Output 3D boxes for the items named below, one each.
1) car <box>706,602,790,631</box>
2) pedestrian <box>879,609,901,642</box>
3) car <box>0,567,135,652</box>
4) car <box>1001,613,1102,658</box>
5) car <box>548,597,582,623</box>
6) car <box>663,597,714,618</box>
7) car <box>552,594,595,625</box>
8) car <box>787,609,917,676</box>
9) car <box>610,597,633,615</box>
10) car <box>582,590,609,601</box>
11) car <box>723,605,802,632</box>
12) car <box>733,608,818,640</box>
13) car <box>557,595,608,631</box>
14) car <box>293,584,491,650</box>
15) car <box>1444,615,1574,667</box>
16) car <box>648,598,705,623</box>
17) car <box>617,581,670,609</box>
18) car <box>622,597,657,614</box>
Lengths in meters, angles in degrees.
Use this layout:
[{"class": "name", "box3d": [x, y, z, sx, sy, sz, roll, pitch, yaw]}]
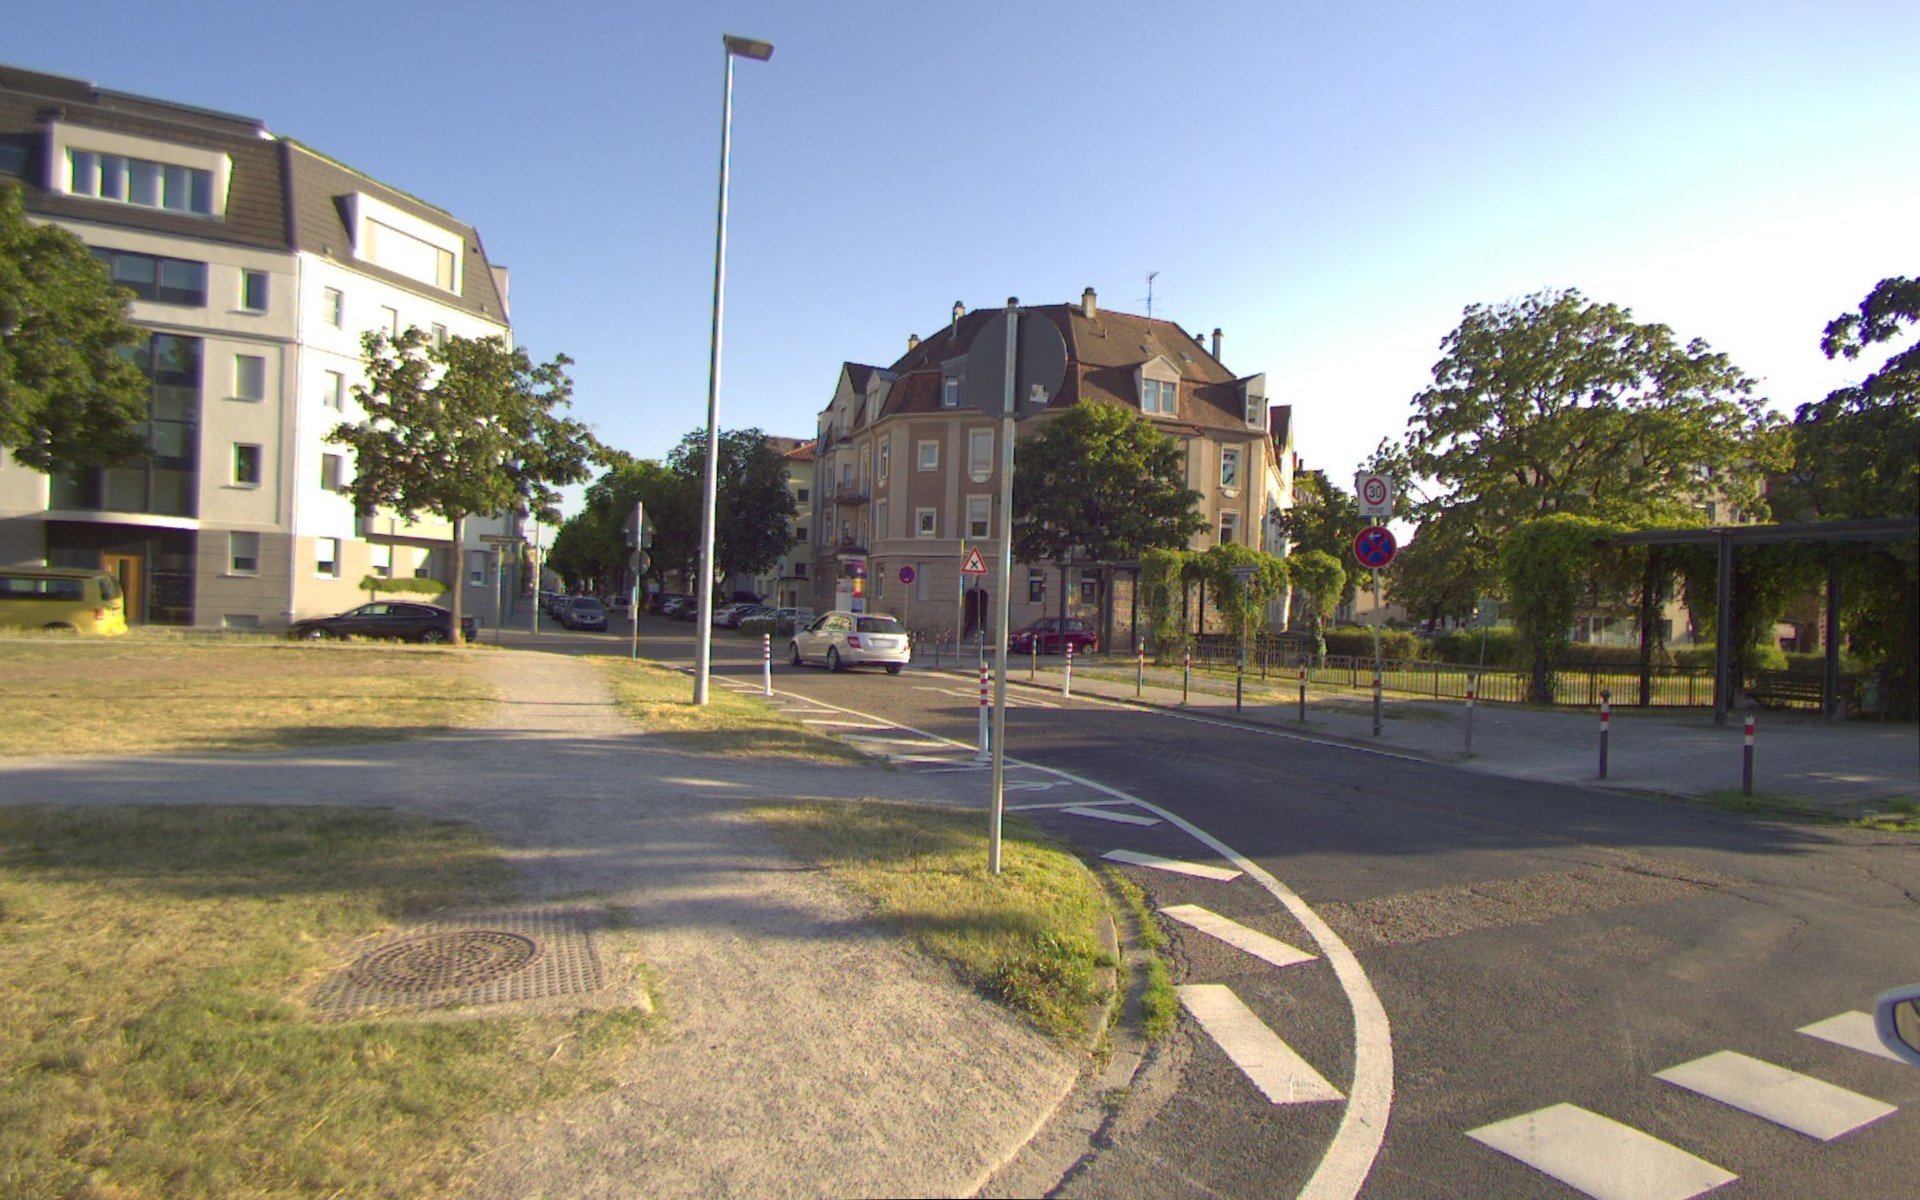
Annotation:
[{"class": "car", "box3d": [-12.470, 0.975, 59.100, 4.438, 1.546, 1.938, 1, 1, -30]}, {"class": "pedestrian", "box3d": [-3.546, 1.296, 51.025, 0.805, 1.565, 0.742, 5, 2, 15]}, {"class": "car", "box3d": [-24.324, 0.203, 25.618, 4.631, 2.040, 2.020, 3, -1, -25]}, {"class": "car", "box3d": [4.055, 1.570, 44.591, 4.029, 1.764, 1.802, 3, 1, -23]}, {"class": "car", "box3d": [-23.937, 0.571, 60.818, 1.739, 1.466, 4.118, 3, -1, -23]}, {"class": "car", "box3d": [-21.709, 0.619, 80.208, 3.692, 1.579, 1.714, 2, 0, -25]}, {"class": "car", "box3d": [-21.969, 0.513, 57.010, 1.866, 1.612, 4.063, 3, -1, -26]}, {"class": "car", "box3d": [-2.779, 1.001, 25.050, 1.800, 1.492, 4.186, 3, -1, -28]}, {"class": "car", "box3d": [-31.150, 0.557, 92.265, 1.796, 1.492, 4.195, 2, -1, -21]}, {"class": "car", "box3d": [-56.233, -0.640, 155.117, 3.803, 1.502, 1.795, 2, 0, -23]}, {"class": "car", "box3d": [-11.129, 1.046, 56.706, 4.100, 1.467, 1.662, 1, 0, -25]}, {"class": "car", "box3d": [-9.608, 1.229, 52.235, 4.007, 1.525, 1.850, 2, 0, -25]}, {"class": "car", "box3d": [-18.074, 0.600, 48.029, 1.866, 1.612, 4.063, 3, -1, -26]}, {"class": "car", "box3d": [-16.382, 0.501, 29.267, 4.772, 1.691, 1.778, 3, -1, -24]}, {"class": "car", "box3d": [33.143, 2.436, 60.766, 6.583, 2.781, 2.309, 2, -1, 38]}, {"class": "car", "box3d": [-24.836, 0.918, 88.022, 4.578, 1.861, 1.942, 3, -1, -25]}, {"class": "car", "box3d": [-36.775, -0.591, 116.628, 5.488, 3.008, 2.455, 2, 0, -27]}, {"class": "car", "box3d": [-36.145, 0.633, 113.400, 3.559, 1.682, 1.639, 2, 0, -26]}]
